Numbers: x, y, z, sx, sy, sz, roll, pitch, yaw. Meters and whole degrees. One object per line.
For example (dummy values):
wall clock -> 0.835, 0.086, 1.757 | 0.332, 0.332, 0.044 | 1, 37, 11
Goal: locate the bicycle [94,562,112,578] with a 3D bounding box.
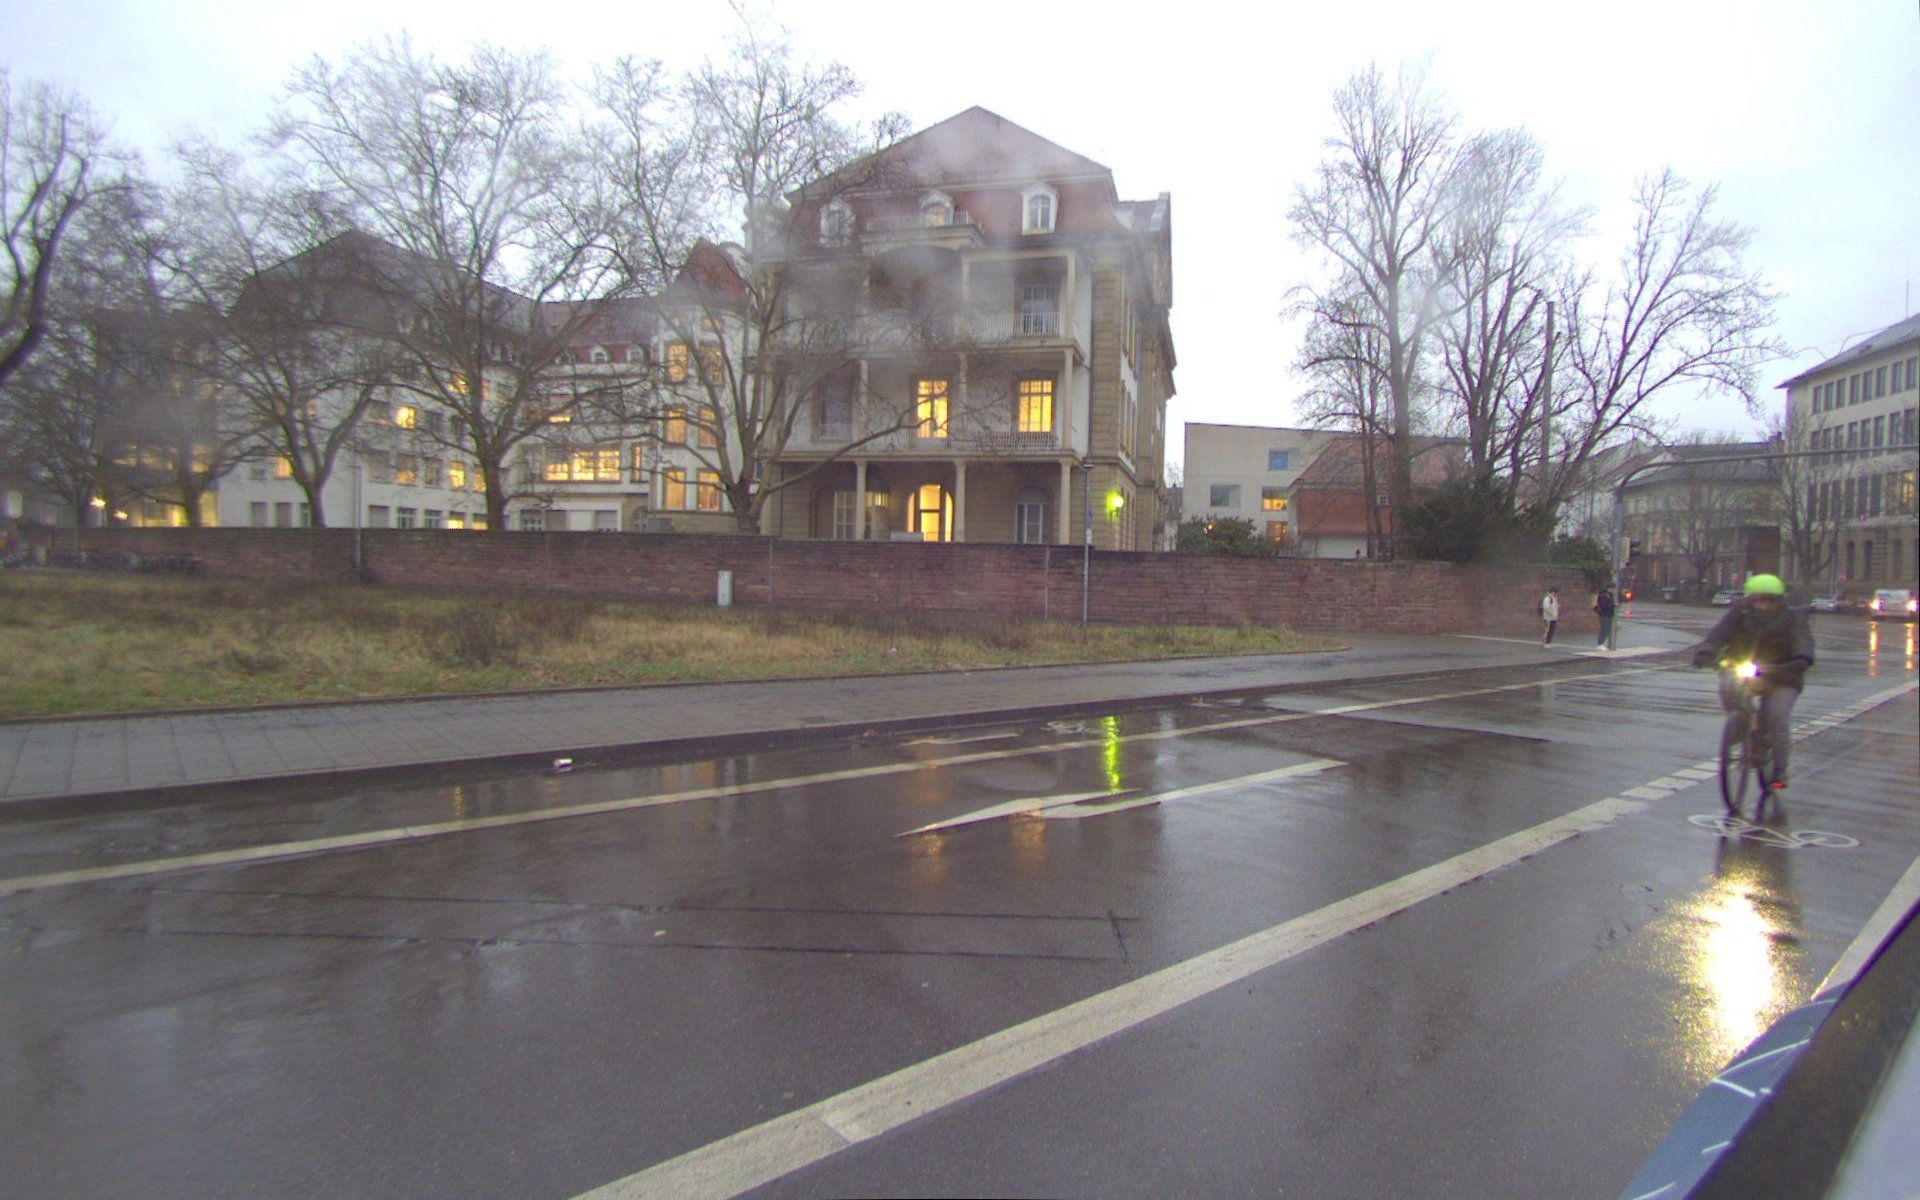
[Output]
bicycle -> -43.130, -1.498, 50.901 | 1.522, 0.796, 0.389 | 0, 0, 38

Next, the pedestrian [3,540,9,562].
pedestrian -> -79.859, -4.095, 84.699 | 0.312, 1.814, 0.375 | 1, 2, -40

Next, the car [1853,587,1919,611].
car -> 61.964, -0.057, 67.012 | 3.927, 1.570, 1.800 | 0, 0, 4

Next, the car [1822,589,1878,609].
car -> 63.603, -0.079, 72.307 | 3.568, 1.322, 1.712 | -1, 0, -25

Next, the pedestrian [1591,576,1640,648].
pedestrian -> 18.306, 0.323, 28.264 | 0.996, 1.924, 0.664 | 4, 3, 41

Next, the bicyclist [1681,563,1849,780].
bicyclist -> 6.005, 0.476, 7.539 | 1.114, 1.471, 0.784 | 0, 0, -41

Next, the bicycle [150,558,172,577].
bicycle -> -37.030, -1.500, 46.889 | 1.480, 0.849, 0.346 | 0, 0, 32

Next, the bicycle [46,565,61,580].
bicycle -> -51.608, -1.550, 57.597 | 1.522, 0.796, 0.389 | 0, 0, 38

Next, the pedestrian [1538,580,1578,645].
pedestrian -> 16.648, 0.332, 28.173 | 0.796, 1.744, 0.664 | 4, 3, 42

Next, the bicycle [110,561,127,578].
bicycle -> -41.473, -1.479, 49.880 | 1.599, 0.796, 0.388 | 0, 0, 41

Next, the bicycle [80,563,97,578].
bicycle -> -45.441, -1.536, 52.745 | 1.522, 0.796, 0.389 | 0, 0, 38

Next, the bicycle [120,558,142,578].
bicycle -> -39.907, -1.542, 48.726 | 1.519, 0.928, 0.389 | 0, 0, 33

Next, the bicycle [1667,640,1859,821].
bicycle -> 6.023, 0.892, 7.552 | 1.923, 1.088, 0.784 | -1, 0, -41

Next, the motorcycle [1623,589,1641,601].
motorcycle -> 61.876, -0.480, 93.167 | 0.703, 1.067, 2.158 | 3, 2, 15

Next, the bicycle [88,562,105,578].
bicycle -> -44.178, -1.533, 51.772 | 1.522, 0.796, 0.389 | 0, 0, 38

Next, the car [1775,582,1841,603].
car -> 64.700, -0.582, 77.232 | 3.916, 1.570, 1.805 | 0, 0, -13

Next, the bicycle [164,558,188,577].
bicycle -> -35.549, -1.471, 45.864 | 1.519, 0.796, 0.389 | 0, 0, 33

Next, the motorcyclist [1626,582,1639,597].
motorcyclist -> 61.909, -0.960, 93.191 | 0.691, 1.400, 0.863 | 2, 2, 15

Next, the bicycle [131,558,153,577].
bicycle -> -38.625, -1.510, 47.772 | 1.519, 0.869, 0.389 | 0, 0, 33

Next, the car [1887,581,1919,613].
car -> 57.170, -0.198, 60.924 | 1.878, 1.868, 3.936 | 0, 0, 45

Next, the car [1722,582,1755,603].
car -> 66.481, -0.641, 86.394 | 1.992, 1.690, 3.940 | 0, 1, 42

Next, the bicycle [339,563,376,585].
bicycle -> -23.383, -0.990, 39.276 | 1.366, 0.835, 0.392 | 0, 0, 14

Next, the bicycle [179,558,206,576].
bicycle -> -34.209, -1.471, 45.114 | 1.399, 0.796, 0.355 | 0, 0, 26

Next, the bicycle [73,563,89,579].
bicycle -> -46.671, -1.539, 53.723 | 1.522, 0.796, 0.389 | 0, 0, 38

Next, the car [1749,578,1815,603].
car -> 64.981, -0.788, 80.029 | 3.916, 1.924, 2.052 | 0, 0, -13

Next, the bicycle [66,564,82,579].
bicycle -> -47.895, -1.542, 54.678 | 1.522, 0.796, 0.389 | 0, 0, 38
